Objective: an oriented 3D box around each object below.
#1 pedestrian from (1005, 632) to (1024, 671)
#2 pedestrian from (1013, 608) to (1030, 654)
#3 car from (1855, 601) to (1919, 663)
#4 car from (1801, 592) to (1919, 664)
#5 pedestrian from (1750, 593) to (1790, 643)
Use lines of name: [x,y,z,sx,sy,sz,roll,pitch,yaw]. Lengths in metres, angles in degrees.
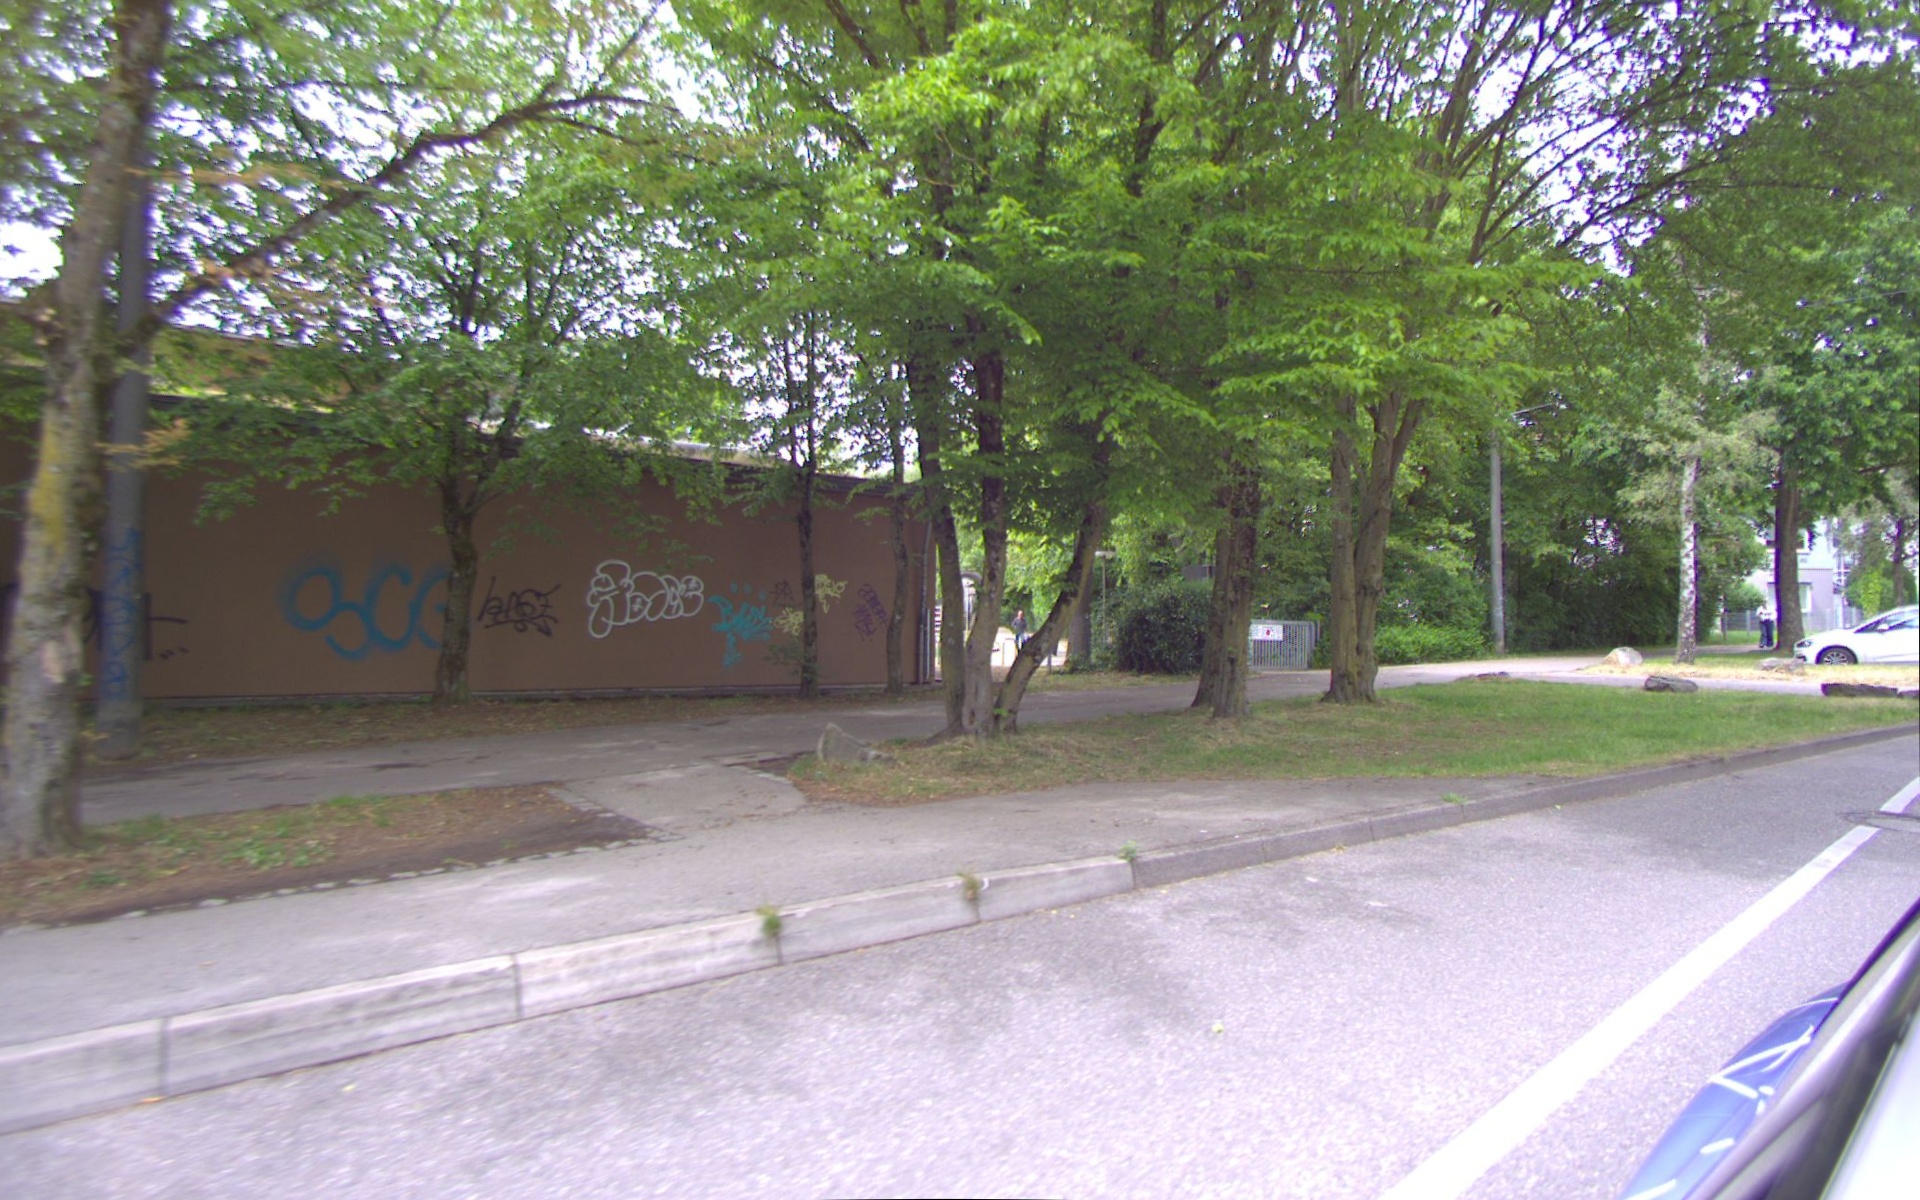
pedestrian: [1.486,1.399,27.519,0.392,1.042,0.401,0,-1,-15]
pedestrian: [2.522,1.272,41.460,0.711,1.848,0.864,0,-1,4]
car: [24.584,0.744,24.546,4.124,1.483,1.773,-3,-2,39]
car: [22.274,0.618,23.164,1.876,1.606,4.468,0,-2,-45]
pedestrian: [27.850,0.617,34.806,0.762,1.665,0.695,0,-1,-14]
